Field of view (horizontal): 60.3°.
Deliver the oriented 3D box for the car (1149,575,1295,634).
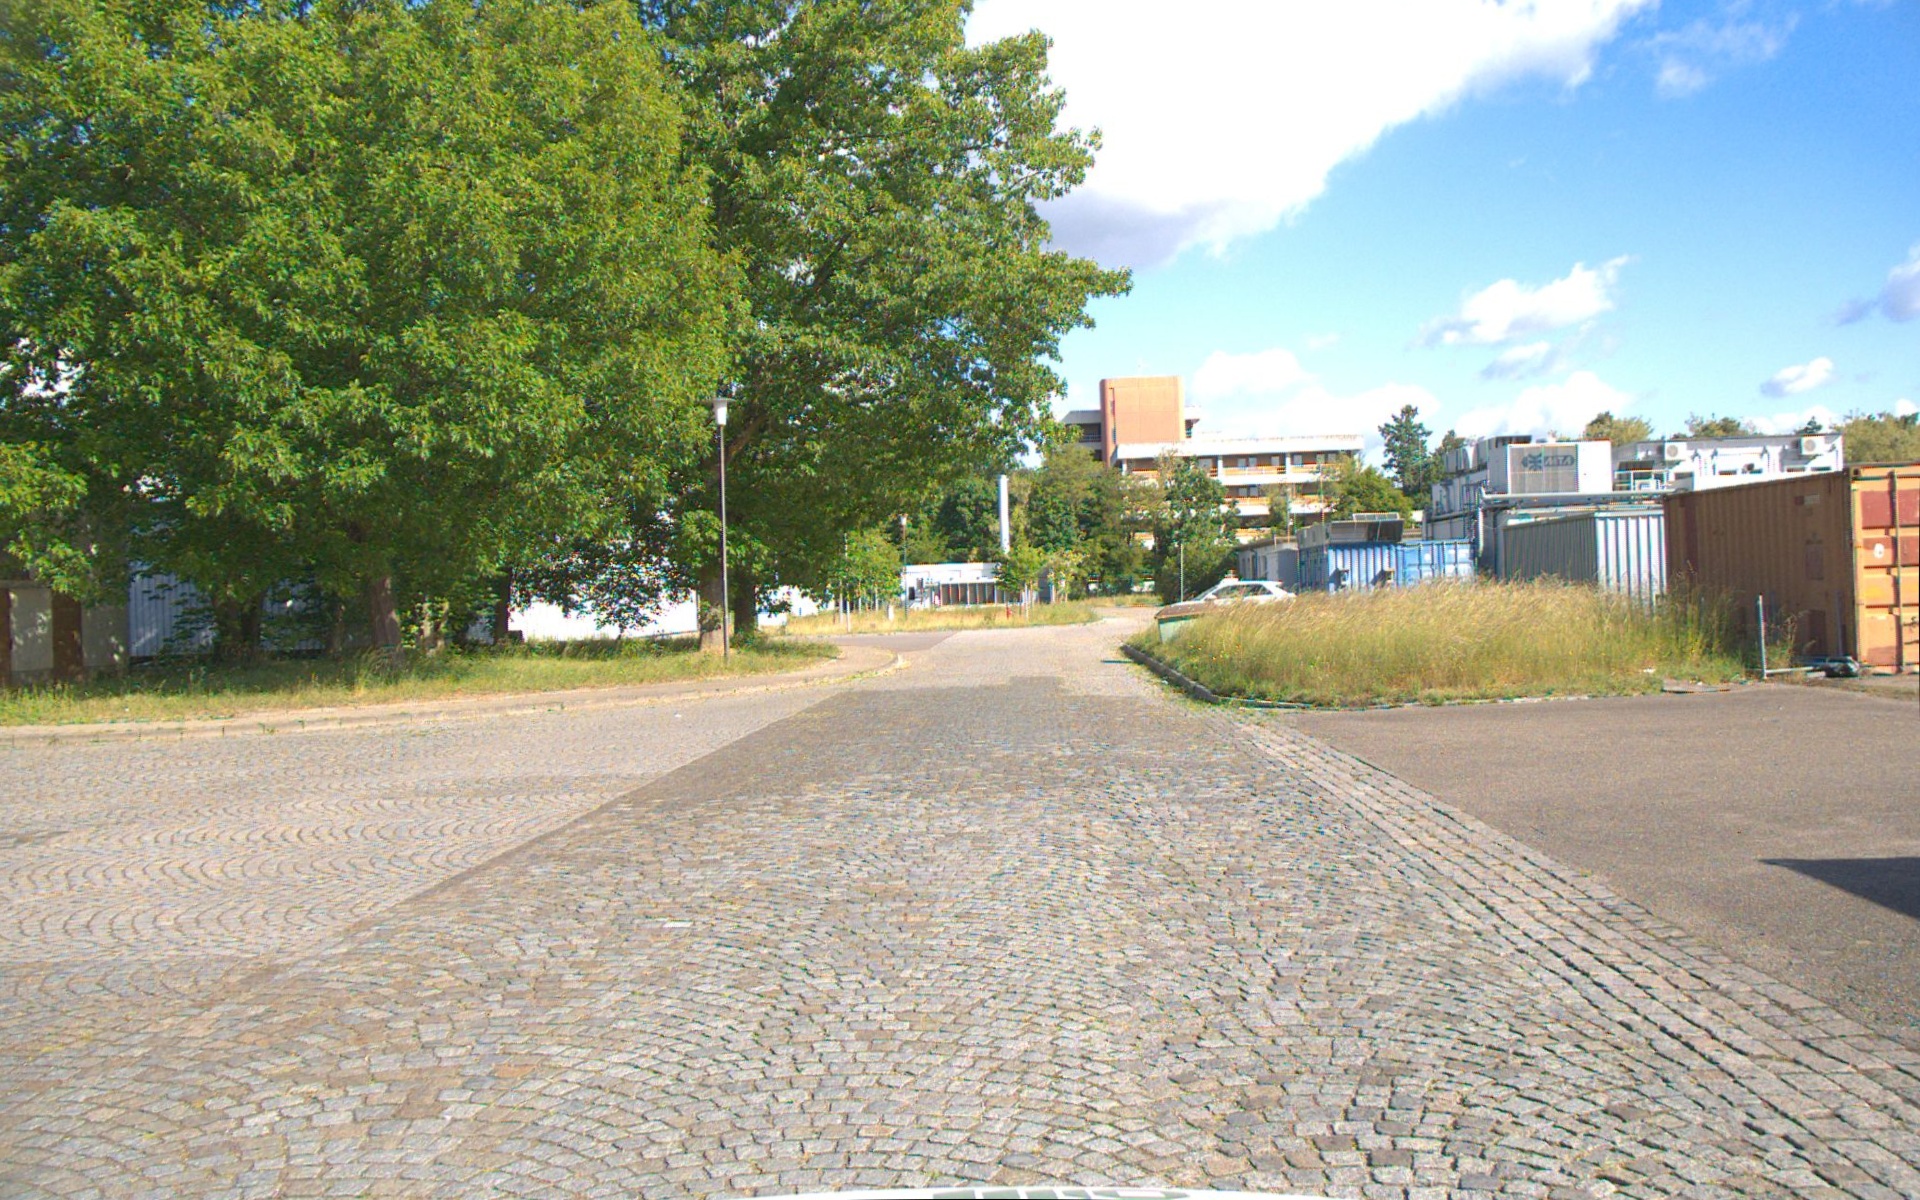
[{"bbox_3d":[8.553,0.141,54.331,4.492,1.707,1.875,-2,0,2],"label":"car"}]
